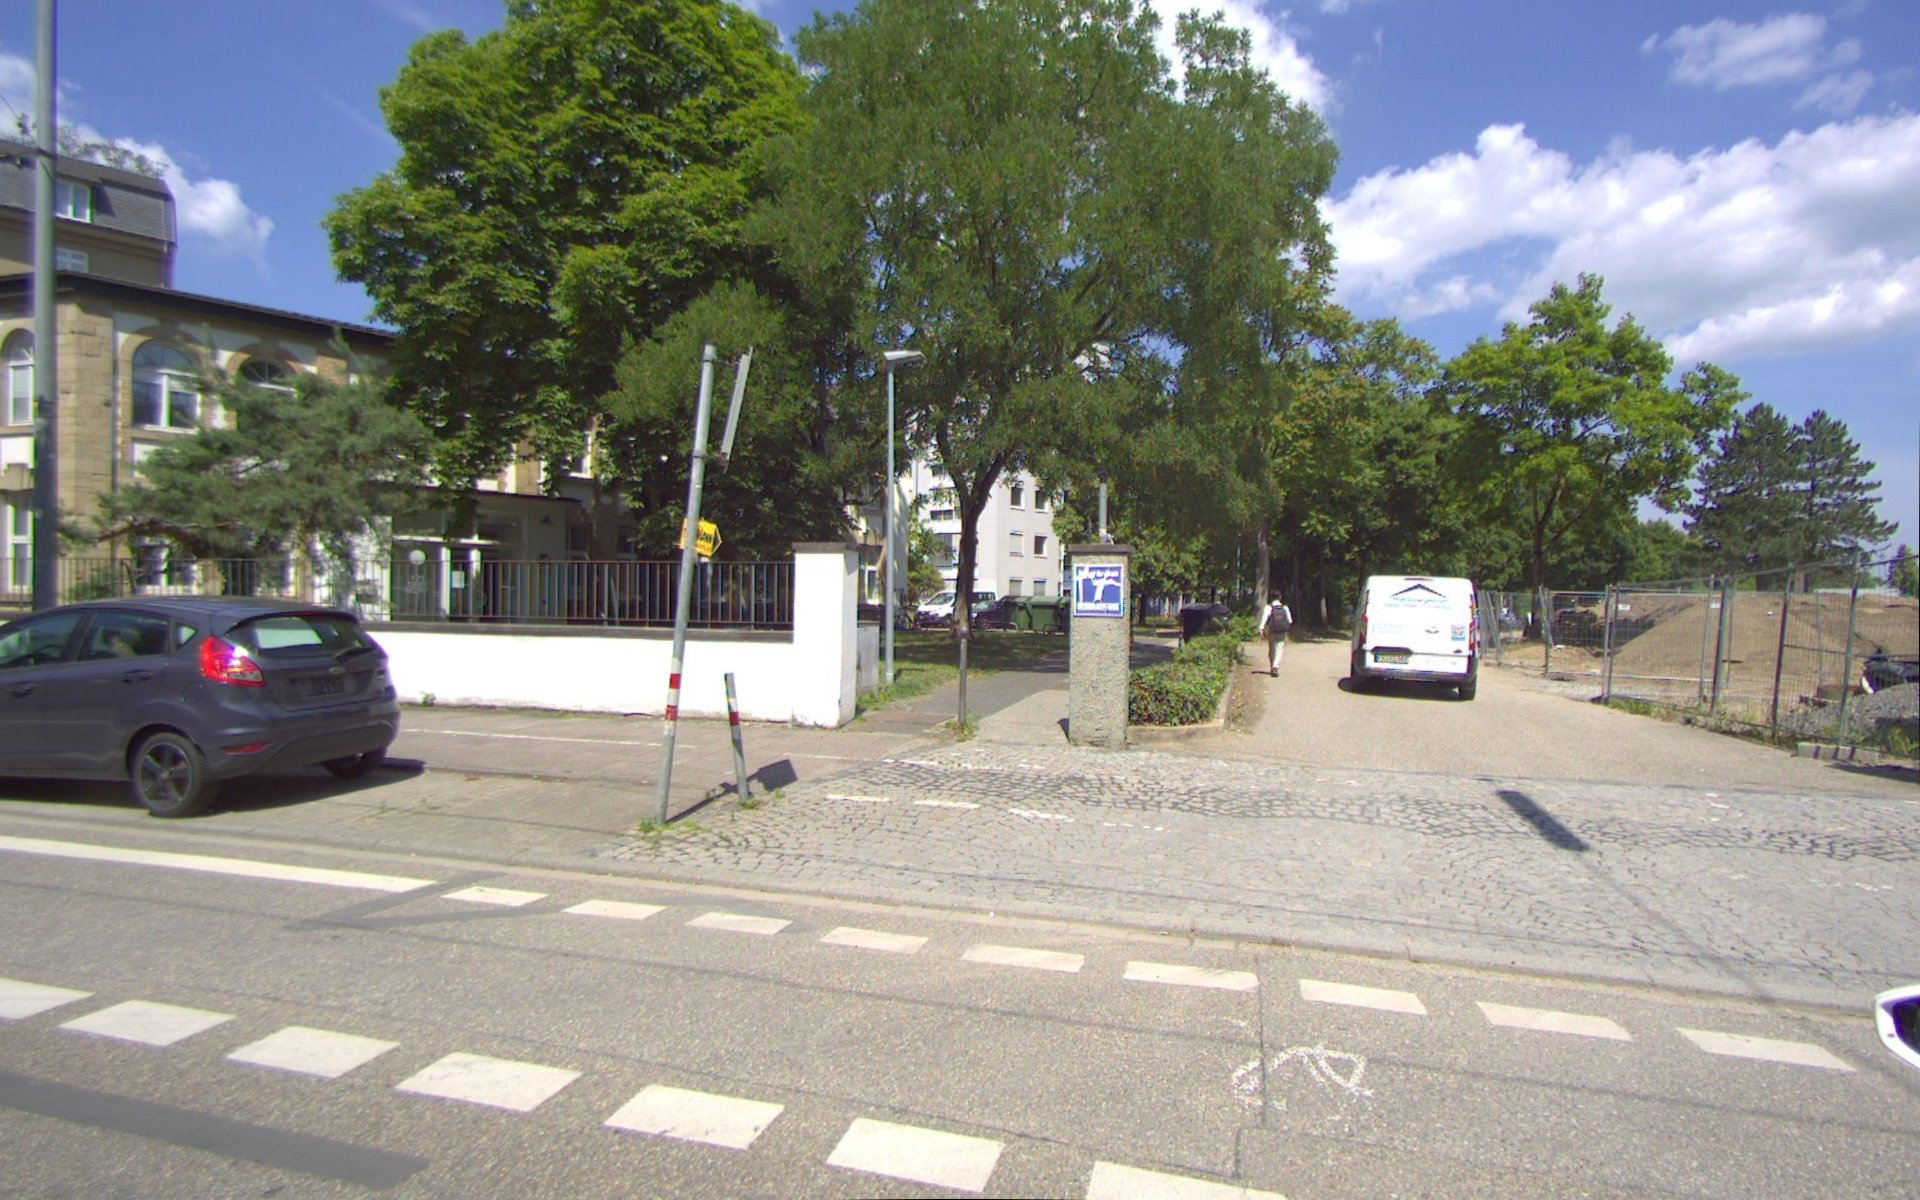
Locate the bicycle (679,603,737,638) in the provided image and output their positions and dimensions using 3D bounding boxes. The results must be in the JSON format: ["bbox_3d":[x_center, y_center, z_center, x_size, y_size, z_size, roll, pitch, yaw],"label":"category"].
[{"bbox_3d":[-8.054,0.638,32.014,2.225,1.025,0.604,2,1,40],"label":"bicycle"}]

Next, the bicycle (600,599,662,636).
[{"bbox_3d":[-9.891,0.526,30.137,2.223,1.025,0.568,2,1,36],"label":"bicycle"}]

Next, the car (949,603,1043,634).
[{"bbox_3d":[1.736,0.861,47.111,1.808,1.370,4.600,2,0,43],"label":"car"}]

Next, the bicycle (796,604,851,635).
[{"bbox_3d":[-4.878,0.693,35.761,2.225,1.025,0.604,2,1,40],"label":"bicycle"}]

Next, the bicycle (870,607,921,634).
[{"bbox_3d":[-2.479,0.768,38.338,0.603,0.971,2.229,1,1,-44],"label":"bicycle"}]

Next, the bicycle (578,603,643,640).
[{"bbox_3d":[-10.333,0.623,29.649,2.222,1.025,0.630,2,1,36],"label":"bicycle"}]

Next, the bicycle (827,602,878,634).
[{"bbox_3d":[-3.957,0.651,36.805,0.603,1.096,2.229,1,1,-44],"label":"bicycle"}]

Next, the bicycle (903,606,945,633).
[{"bbox_3d":[-1.413,0.756,38.992,0.610,0.971,1.707,1,1,-44],"label":"bicycle"}]

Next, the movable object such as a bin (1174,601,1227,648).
[{"bbox_3d":[7.430,0.758,31.091,1.100,1.413,1.154,1,1,-23],"label":"movable object such as a bin"}]

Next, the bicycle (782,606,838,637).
[{"bbox_3d":[-5.283,0.746,35.247,2.225,1.025,0.604,2,1,40],"label":"bicycle"}]

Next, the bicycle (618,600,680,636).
[{"bbox_3d":[-9.519,0.545,30.692,2.223,1.025,0.605,2,1,36],"label":"bicycle"}]

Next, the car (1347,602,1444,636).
[{"bbox_3d":[24.059,1.042,55.583,4.458,1.630,1.988,2,-2,44],"label":"car"}]

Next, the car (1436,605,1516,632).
[{"bbox_3d":[34.218,1.231,66.684,4.456,1.619,1.715,2,1,43],"label":"car"}]

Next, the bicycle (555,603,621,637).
[{"bbox_3d":[-10.729,0.570,28.922,2.223,0.902,0.653,2,1,36],"label":"bicycle"}]

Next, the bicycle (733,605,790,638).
[{"bbox_3d":[-6.677,0.716,33.714,2.225,1.025,0.604,2,1,40],"label":"bicycle"}]

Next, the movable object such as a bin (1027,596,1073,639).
[{"bbox_3d":[3.191,0.607,35.692,1.244,1.499,1.041,1,1,44],"label":"movable object such as a bin"}]

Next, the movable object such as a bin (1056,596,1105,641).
[{"bbox_3d":[4.168,0.635,34.712,1.337,1.499,1.093,1,1,33],"label":"movable object such as a bin"}]

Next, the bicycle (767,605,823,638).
[{"bbox_3d":[-5.730,0.733,34.751,2.225,1.025,0.604,2,1,40],"label":"bicycle"}]

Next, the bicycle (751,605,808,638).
[{"bbox_3d":[-6.169,0.732,34.275,2.225,1.025,0.604,2,1,40],"label":"bicycle"}]

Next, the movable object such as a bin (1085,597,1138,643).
[{"bbox_3d":[5.083,0.663,33.750,1.305,1.499,1.202,1,1,40],"label":"movable object such as a bin"}]

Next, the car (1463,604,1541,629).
[{"bbox_3d":[38.116,1.161,70.693,4.457,1.619,1.925,2,1,44],"label":"car"}]

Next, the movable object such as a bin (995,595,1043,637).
[{"bbox_3d":[2.163,0.576,36.747,1.390,1.499,1.041,1,1,44],"label":"movable object such as a bin"}]

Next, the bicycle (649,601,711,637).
[{"bbox_3d":[-8.739,0.570,31.329,2.223,1.025,0.605,2,1,36],"label":"bicycle"}]

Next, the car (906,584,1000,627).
[{"bbox_3d":[-0.304,0.278,49.798,1.972,2.040,4.747,1,0,43],"label":"car"}]

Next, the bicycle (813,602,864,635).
[{"bbox_3d":[-4.423,0.661,36.368,0.603,1.096,2.229,1,1,-44],"label":"bicycle"}]

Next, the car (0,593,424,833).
[{"bbox_3d":[-6.276,0.731,7.684,3.650,1.476,1.589,1,3,12],"label":"car"}]

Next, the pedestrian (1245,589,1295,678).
[{"bbox_3d":[6.353,0.656,20.583,0.860,1.753,1.080,1,1,22],"label":"pedestrian"}]

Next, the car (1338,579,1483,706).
[{"bbox_3d":[8.020,0.668,18.288,1.940,1.973,4.581,1,0,19],"label":"car"}]
